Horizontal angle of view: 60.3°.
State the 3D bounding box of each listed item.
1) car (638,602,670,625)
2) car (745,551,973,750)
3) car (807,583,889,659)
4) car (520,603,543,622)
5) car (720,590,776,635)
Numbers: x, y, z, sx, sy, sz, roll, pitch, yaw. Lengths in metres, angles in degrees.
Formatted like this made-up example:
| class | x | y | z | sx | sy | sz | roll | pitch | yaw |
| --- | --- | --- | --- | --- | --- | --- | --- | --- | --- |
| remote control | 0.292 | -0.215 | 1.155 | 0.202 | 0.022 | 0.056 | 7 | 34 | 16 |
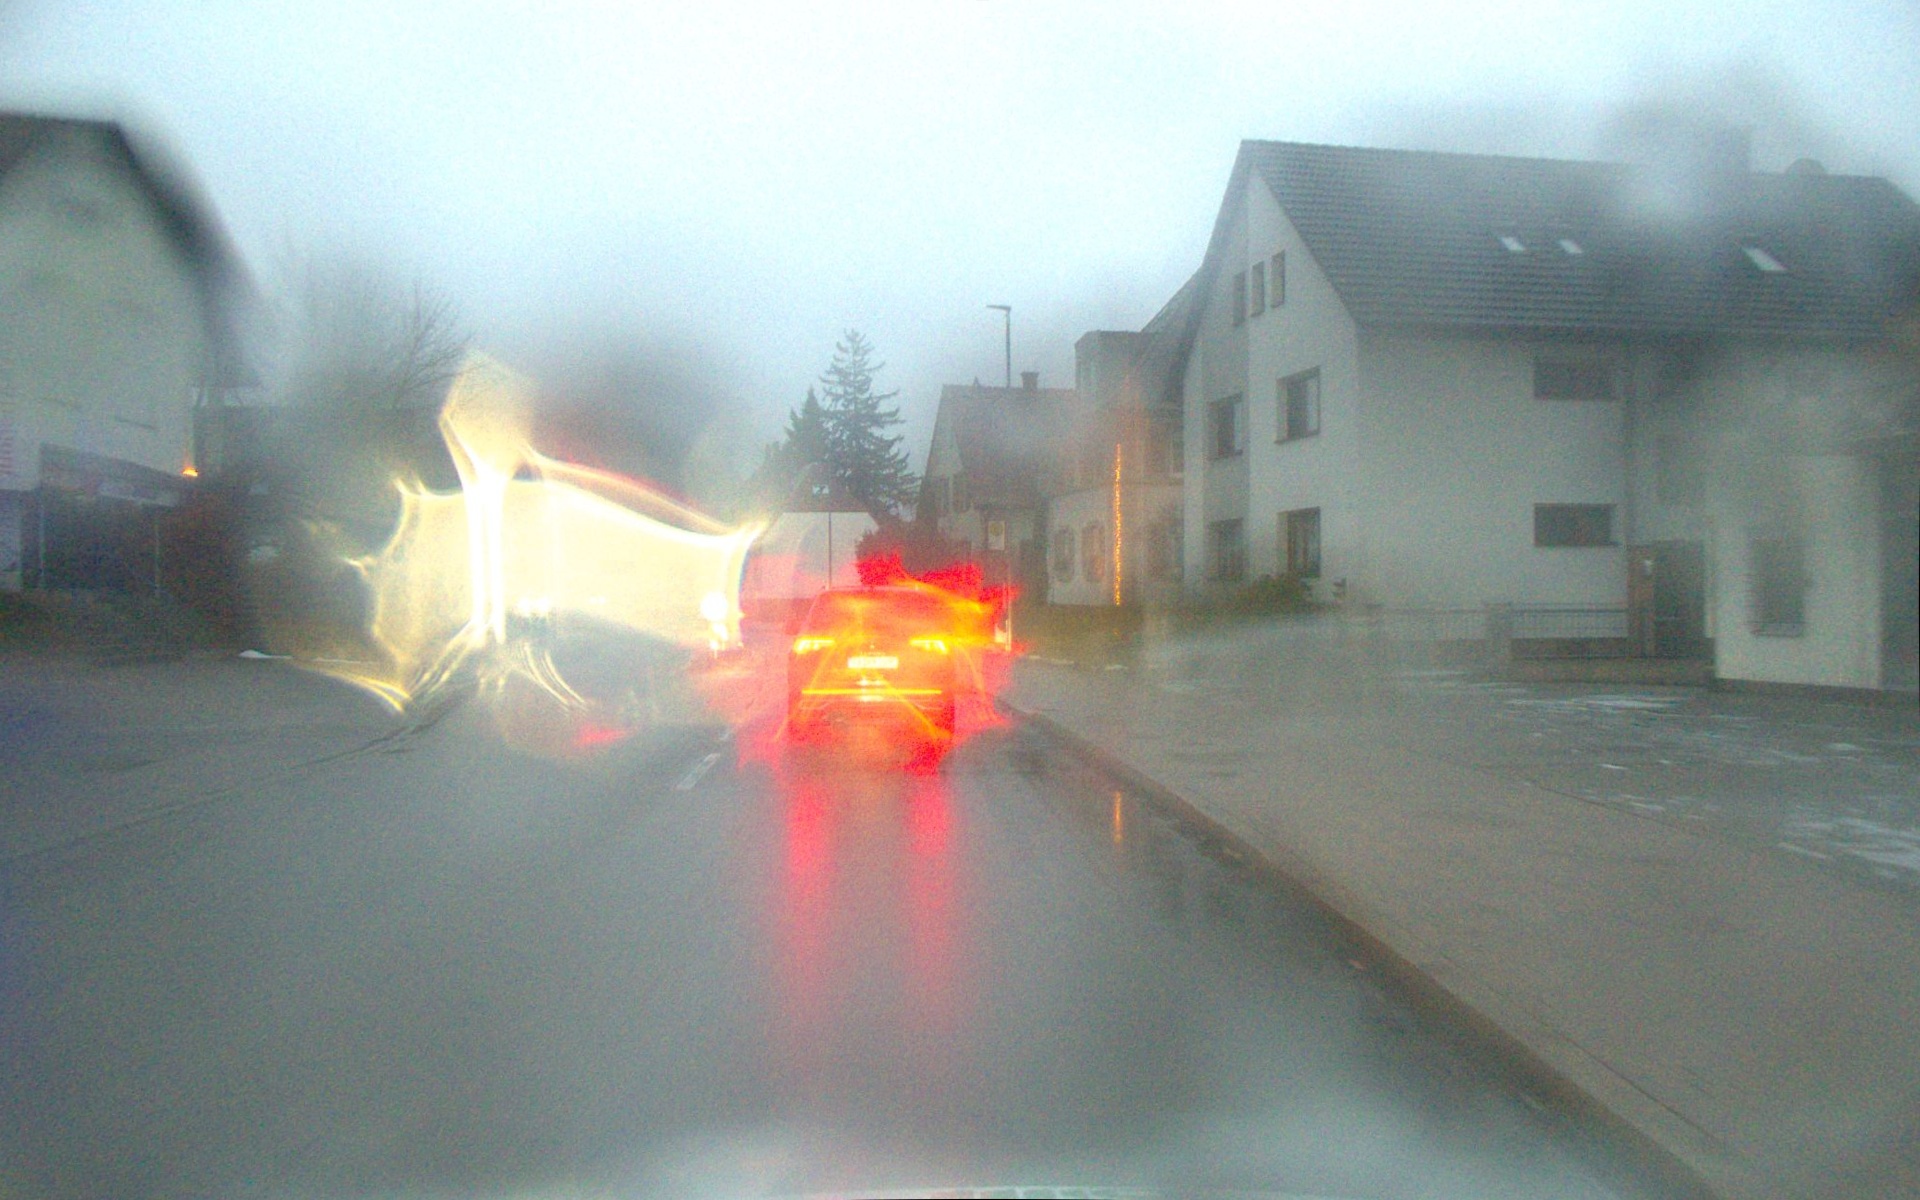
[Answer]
| class | x | y | z | sx | sy | sz | roll | pitch | yaw |
| --- | --- | --- | --- | --- | --- | --- | --- | --- | --- |
| car | -19.010 | 0.808 | 102.652 | 1.810 | 1.355 | 3.925 | -1 | 0 | -13 |
| car | -1.118 | 0.524 | 19.122 | 2.263 | 1.972 | 5.015 | -1 | 0 | -2 |
| car | -2.672 | 0.460 | 39.078 | 1.821 | 1.676 | 3.996 | 1 | 0 | -5 |
| car | -37.284 | 1.108 | 143.720 | 1.794 | 1.581 | 3.982 | -2 | 0 | -16 |
| car | -9.916 | 0.579 | 77.013 | 2.268 | 1.972 | 5.004 | -1 | 0 | -11 |
